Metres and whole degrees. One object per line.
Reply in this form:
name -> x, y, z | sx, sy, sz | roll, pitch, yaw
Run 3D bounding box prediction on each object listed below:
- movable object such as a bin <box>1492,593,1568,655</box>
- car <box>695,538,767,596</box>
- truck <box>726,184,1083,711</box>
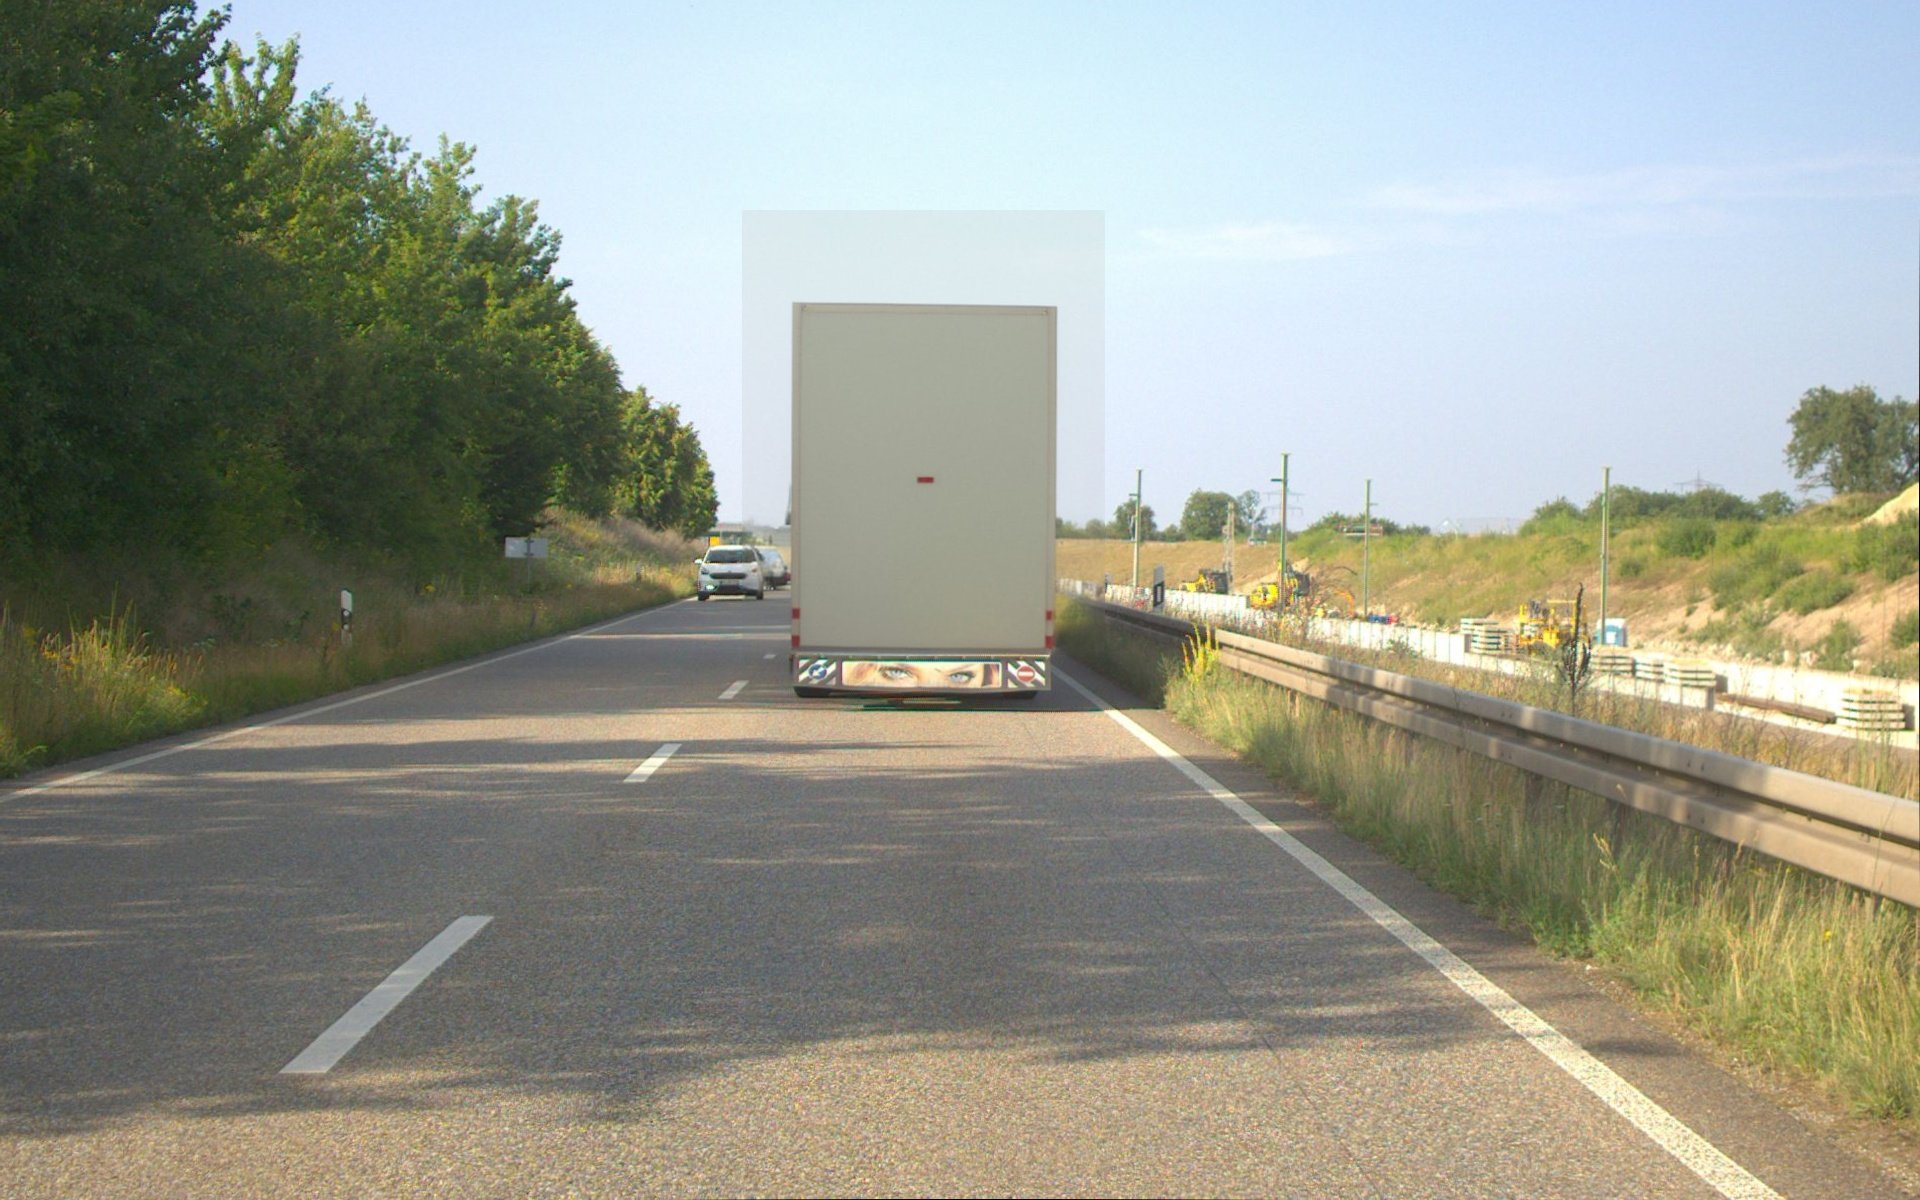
movable object such as a bin -> 25.434, 1.061, 153.475 | 2.907, 2.652, 2.017 | 1, 1, 23
car -> -6.427, -0.938, 96.775 | 1.745, 1.559, 4.365 | 1, 1, 0
truck -> -0.620, -1.423, 34.839 | 3.153, 4.672, 8.442 | 0, 1, -2
